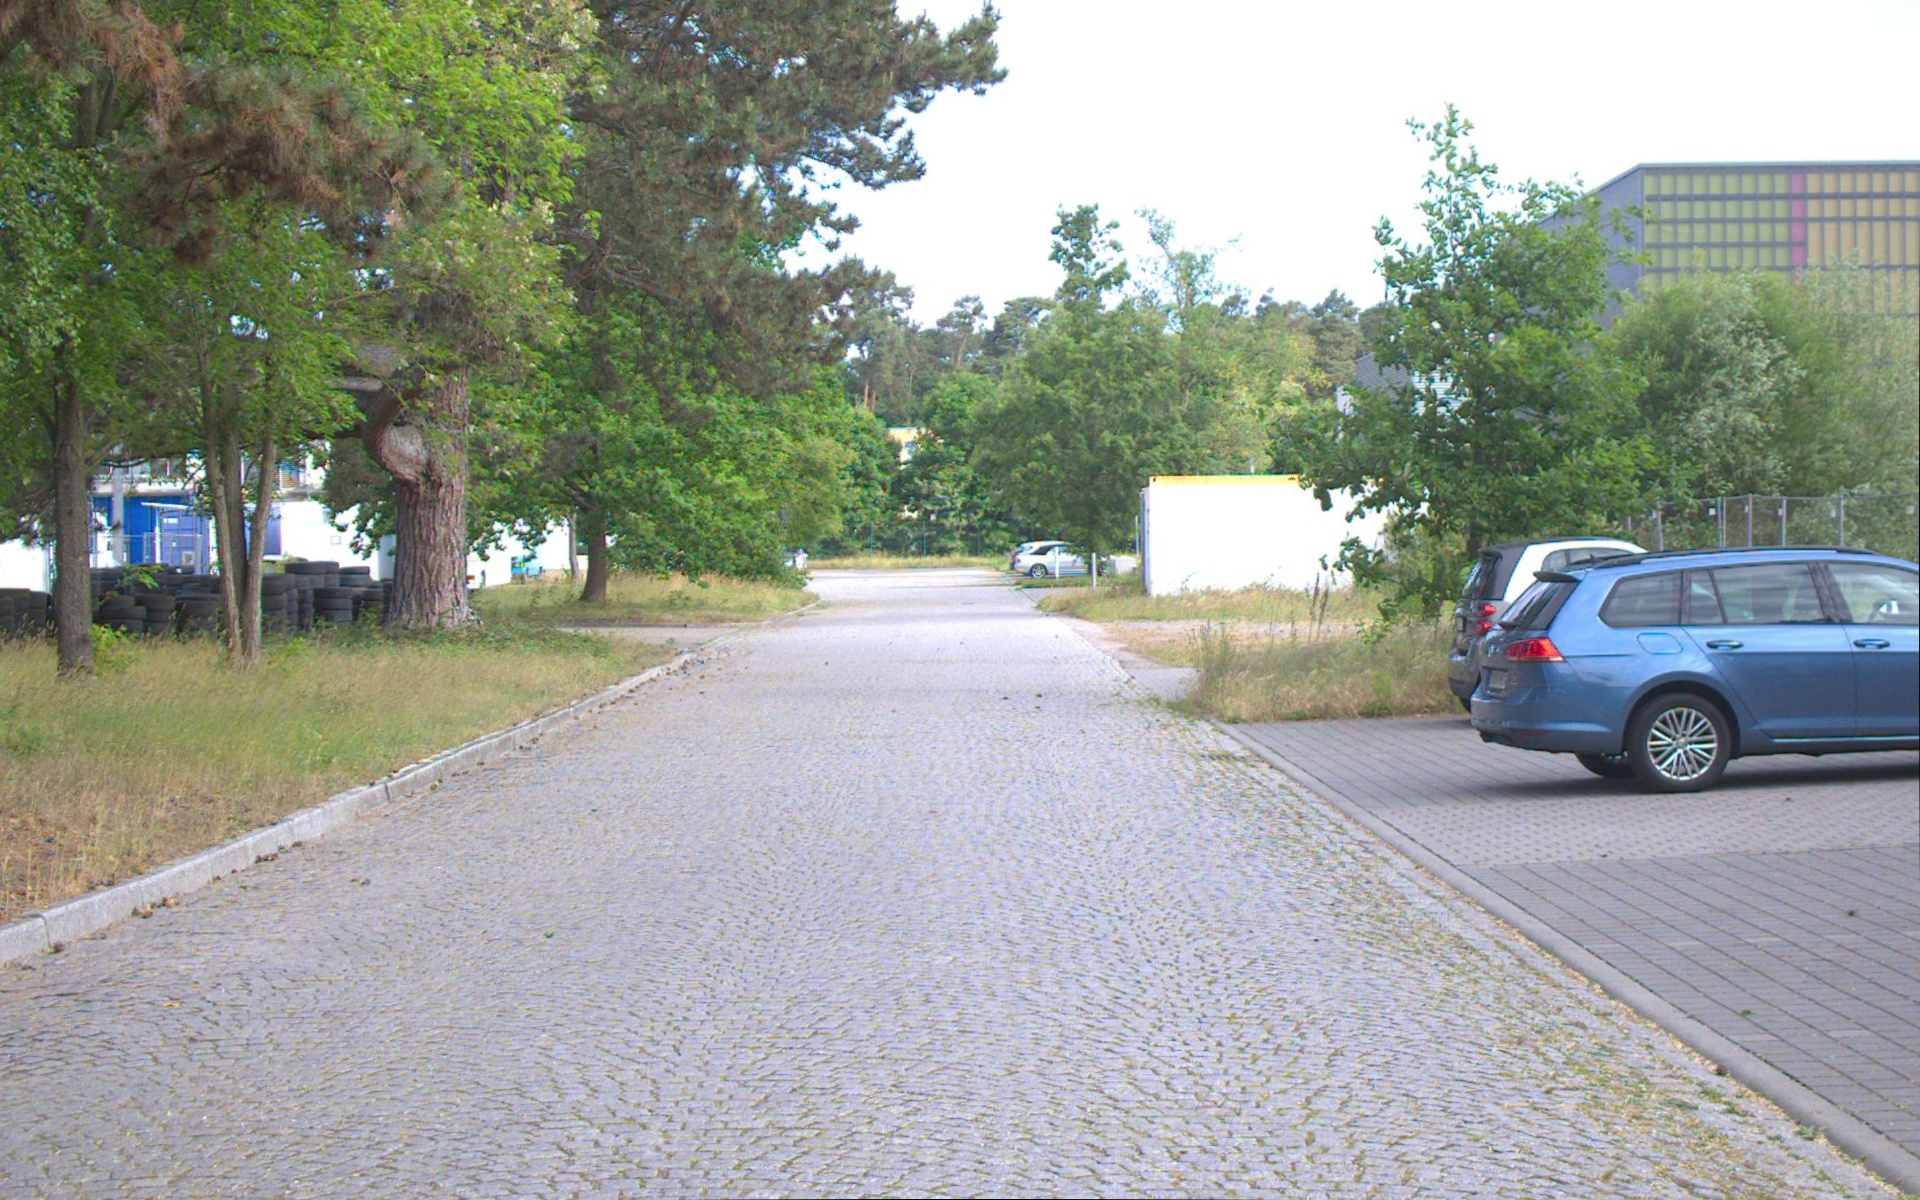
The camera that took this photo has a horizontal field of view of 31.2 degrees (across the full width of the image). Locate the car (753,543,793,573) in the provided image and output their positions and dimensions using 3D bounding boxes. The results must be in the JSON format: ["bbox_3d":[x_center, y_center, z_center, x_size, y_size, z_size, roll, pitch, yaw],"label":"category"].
[{"bbox_3d":[-8.723,-1.991,160.742,1.648,1.364,3.998,0,1,0],"label":"car"}]

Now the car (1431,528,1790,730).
[{"bbox_3d":[5.518,0.227,29.407,2.710,1.551,1.653,-3,1,1],"label":"car"}]

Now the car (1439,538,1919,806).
[{"bbox_3d":[5.494,0.391,21.979,4.490,1.470,1.831,-3,1,-3],"label":"car"}]

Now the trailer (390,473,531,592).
[{"bbox_3d":[-15.741,-2.132,109.041,2.625,3.585,10.177,0,1,2],"label":"trailer"}]

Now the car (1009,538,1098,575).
[{"bbox_3d":[3.782,-1.769,139.132,3.522,1.357,1.622,-2,1,1],"label":"car"}]

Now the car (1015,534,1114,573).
[{"bbox_3d":[4.309,-1.928,141.822,3.984,1.443,1.653,-3,1,1],"label":"car"}]
